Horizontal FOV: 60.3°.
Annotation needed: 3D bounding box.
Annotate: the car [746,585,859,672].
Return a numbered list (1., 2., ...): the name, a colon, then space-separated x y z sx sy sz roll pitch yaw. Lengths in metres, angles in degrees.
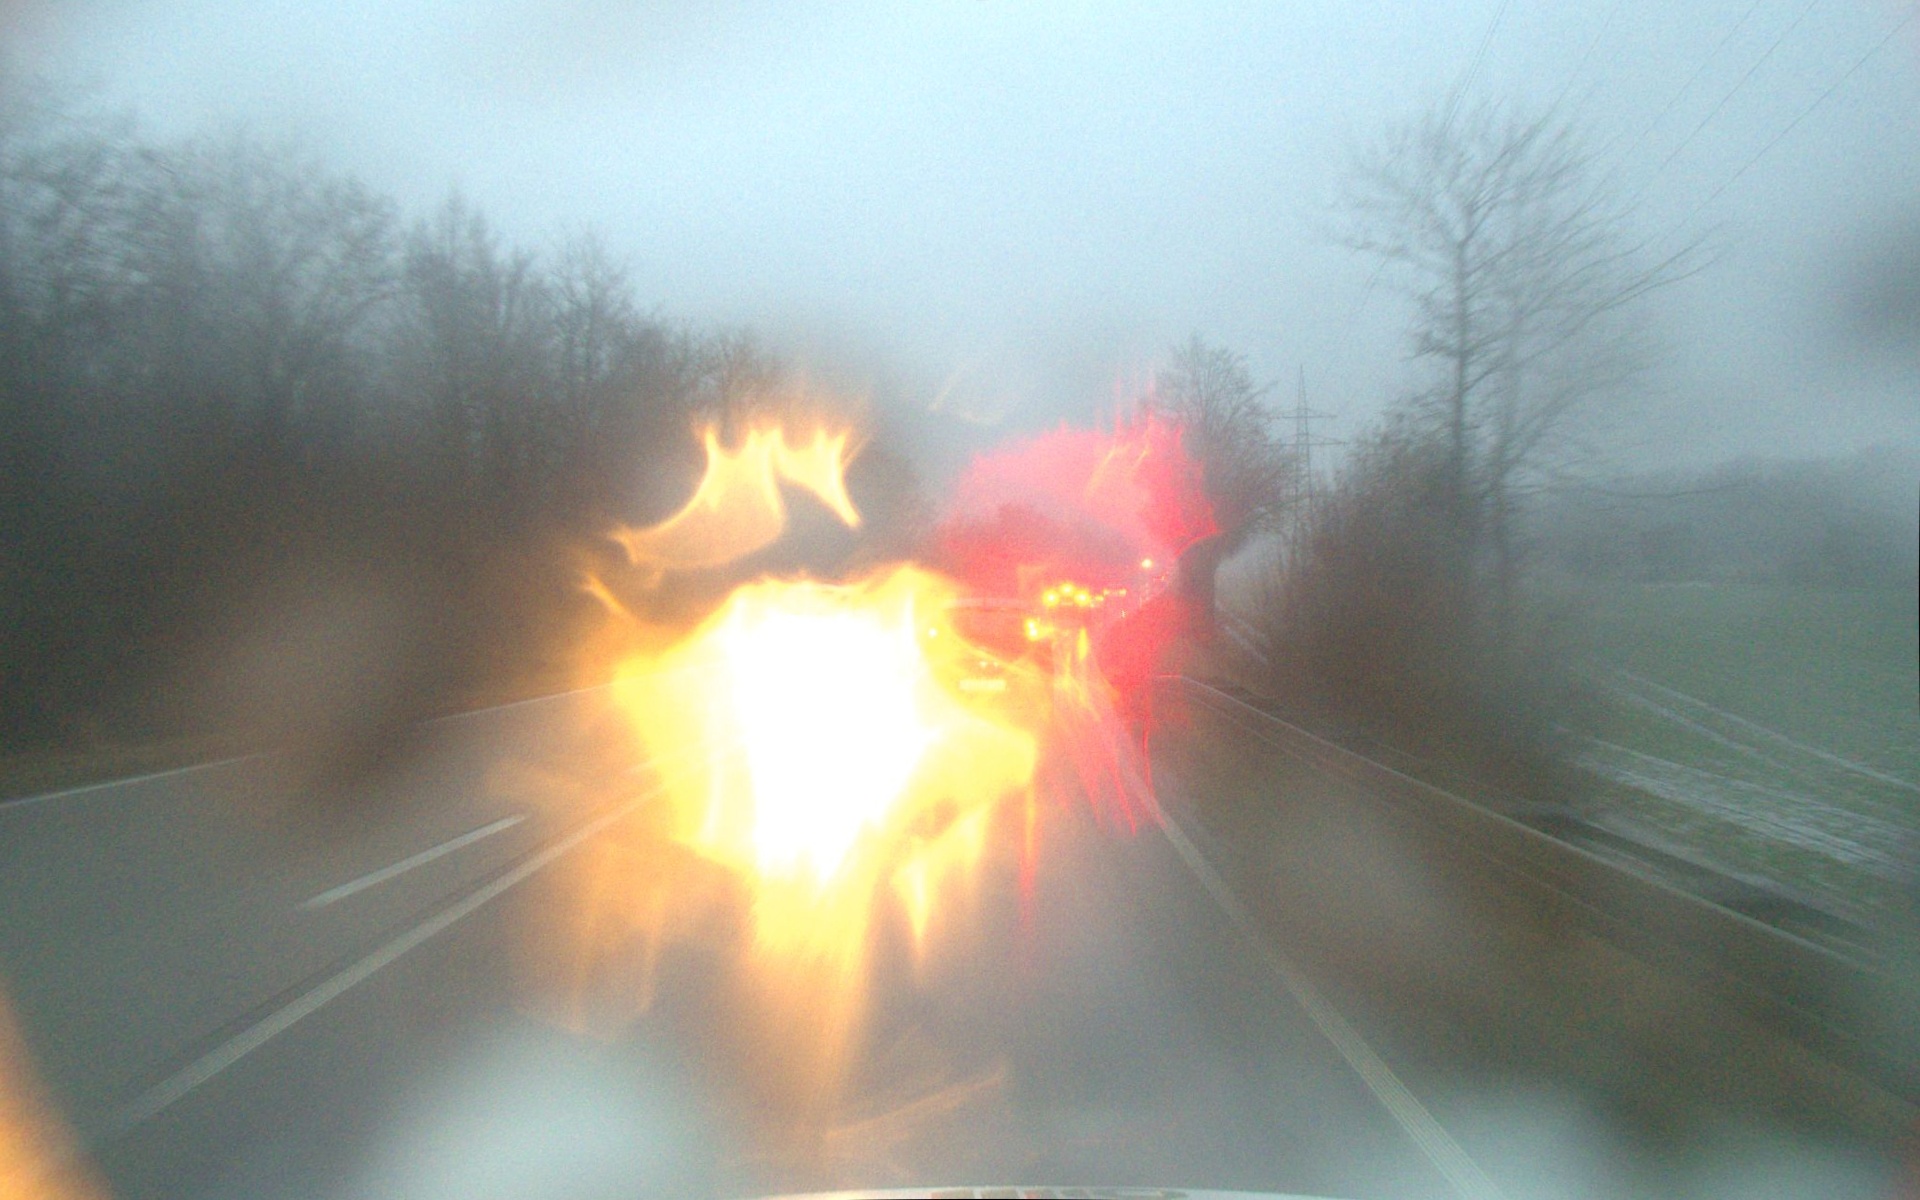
1. car: -3.028 0.516 32.450 1.665 1.603 4.001 0 0 2

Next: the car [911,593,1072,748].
1. car: 0.377 0.774 20.424 1.695 1.559 4.043 -4 1 1

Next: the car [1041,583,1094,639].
1. car: 4.508 0.420 69.737 1.906 2.048 4.002 -6 1 2

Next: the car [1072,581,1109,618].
1. car: 7.186 -0.045 91.353 1.905 1.774 4.003 0 4 2
